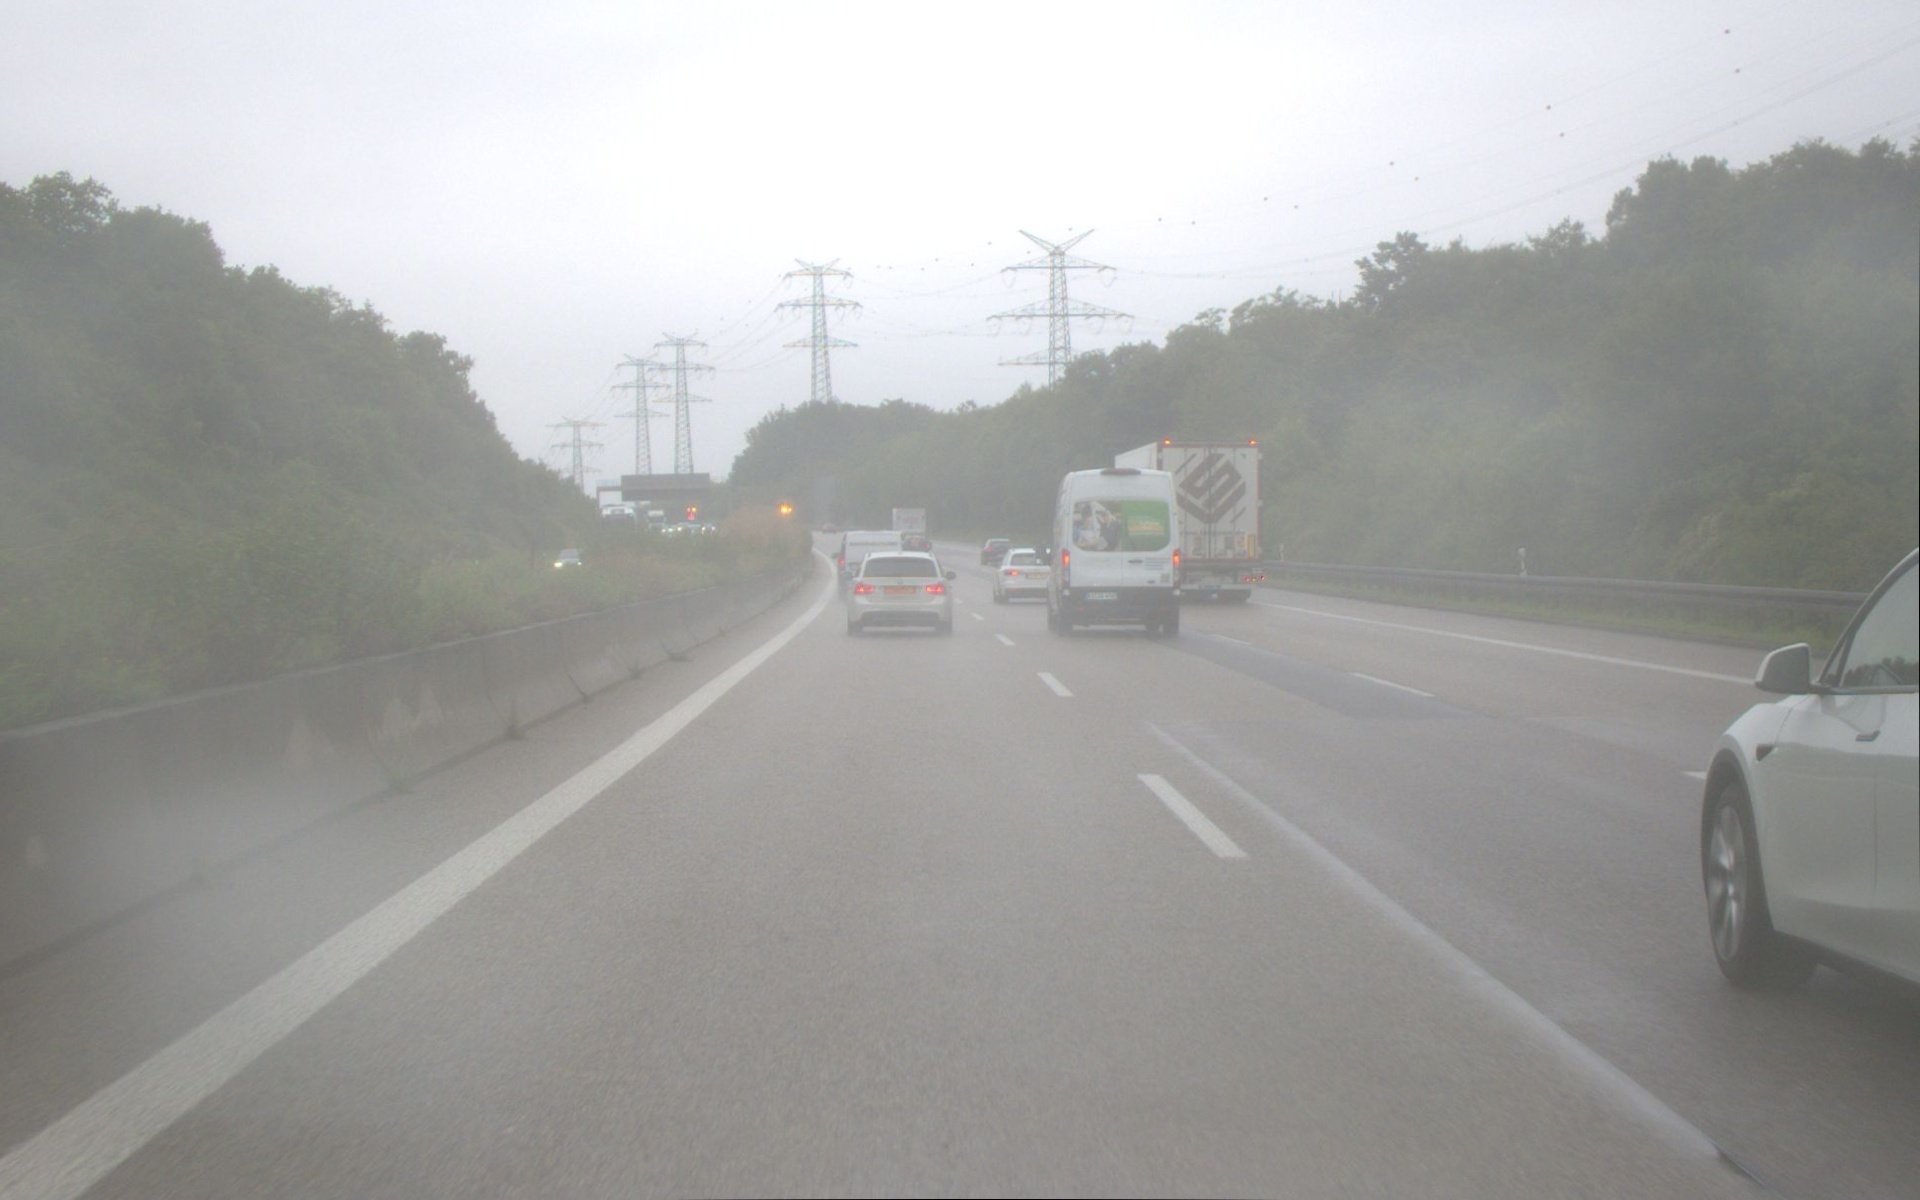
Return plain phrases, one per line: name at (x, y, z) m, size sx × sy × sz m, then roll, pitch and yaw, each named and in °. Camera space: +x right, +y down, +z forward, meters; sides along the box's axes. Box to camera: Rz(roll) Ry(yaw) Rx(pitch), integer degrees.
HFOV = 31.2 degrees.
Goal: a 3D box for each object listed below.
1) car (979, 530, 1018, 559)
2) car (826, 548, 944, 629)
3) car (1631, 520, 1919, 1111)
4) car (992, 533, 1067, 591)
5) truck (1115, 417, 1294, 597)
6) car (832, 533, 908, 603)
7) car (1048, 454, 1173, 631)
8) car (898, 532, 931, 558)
car at (2.055, -2.994, 186.436) m, size 1.993 × 1.481 × 4.000 m, roll -3°, pitch 1°, yaw 0°
car at (-1.240, -0.224, 58.526) m, size 1.866 × 1.284 × 4.000 m, roll -2°, pitch 1°, yaw 0°
car at (3.458, 0.549, 10.351) m, size 1.860 × 1.562 × 4.964 m, roll 0°, pitch 1°, yaw 0°
car at (1.783, -0.989, 87.758) m, size 1.857 × 1.418 × 4.000 m, roll 0°, pitch 1°, yaw 1°
truck at (6.250, -2.355, 90.309) m, size 3.603 × 4.317 × 13.200 m, roll -1°, pitch 1°, yaw 0°
car at (-2.356, -0.866, 91.016) m, size 1.846 × 1.766 × 4.000 m, roll -2°, pitch 1°, yaw 0°
car at (2.490, -0.962, 57.720) m, size 1.993 × 2.854 × 4.000 m, roll 0°, pitch 1°, yaw 1°
car at (-2.881, -3.481, 217.551) m, size 1.993 × 1.568 × 4.000 m, roll -2°, pitch 0°, yaw 0°
